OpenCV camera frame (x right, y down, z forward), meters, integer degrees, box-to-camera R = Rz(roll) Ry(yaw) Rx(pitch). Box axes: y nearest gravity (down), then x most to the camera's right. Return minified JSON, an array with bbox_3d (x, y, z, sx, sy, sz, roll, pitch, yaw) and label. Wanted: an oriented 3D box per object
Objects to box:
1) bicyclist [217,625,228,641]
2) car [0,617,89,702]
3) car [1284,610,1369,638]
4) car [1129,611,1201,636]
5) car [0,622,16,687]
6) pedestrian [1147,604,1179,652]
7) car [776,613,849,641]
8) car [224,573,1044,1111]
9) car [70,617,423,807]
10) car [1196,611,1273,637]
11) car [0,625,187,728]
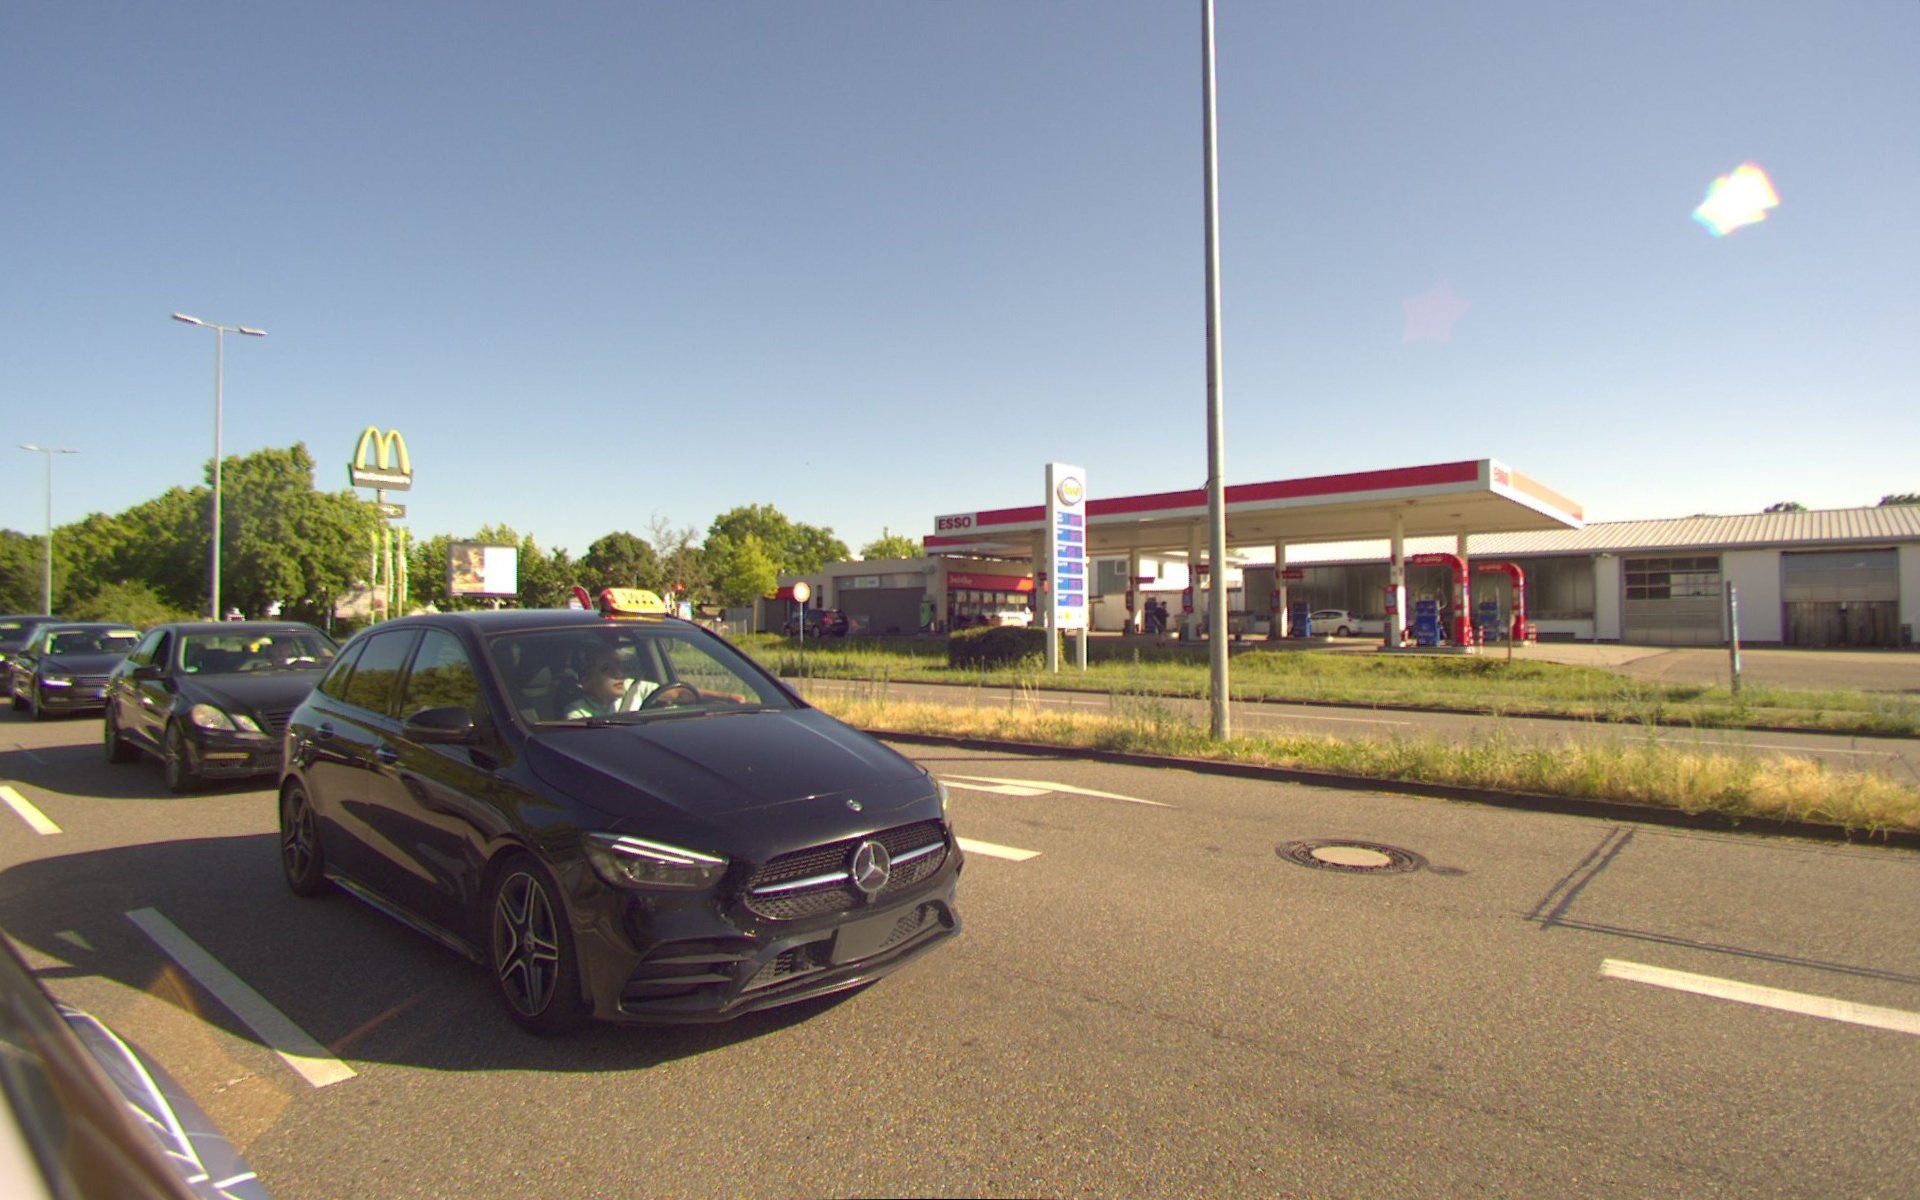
[{"bbox_3d":[-63.469,2.820,87.053,0.700,1.298,0.621,-1,0,42],"label":"bicyclist"},{"bbox_3d":[-19.911,1.210,21.426,3.876,1.629,1.653,-2,-1,40],"label":"car"},{"bbox_3d":[19.838,1.320,54.845,3.975,1.420,1.661,-1,-4,40],"label":"car"},{"bbox_3d":[12.438,1.415,61.386,3.975,1.420,1.661,-1,-4,40],"label":"car"},{"bbox_3d":[-25.207,1.377,25.534,3.774,1.567,1.615,-1,-1,40],"label":"car"},{"bbox_3d":[7.710,1.048,38.440,0.903,1.763,0.780,-1,0,42],"label":"pedestrian"},{"bbox_3d":[-8.035,1.455,54.891,3.975,1.420,1.661,-1,-4,40],"label":"car"},{"bbox_3d":[-1.893,0.689,4.921,4.400,1.502,1.741,-1,0,40],"label":"car"},{"bbox_3d":[-7.272,0.922,10.133,4.400,1.449,1.845,-1,0,40],"label":"car"},{"bbox_3d":[15.834,1.371,58.429,3.975,1.420,1.661,-1,-4,40],"label":"car"},{"bbox_3d":[-14.421,1.161,16.688,4.284,1.438,1.775,-1,0,40],"label":"car"}]
